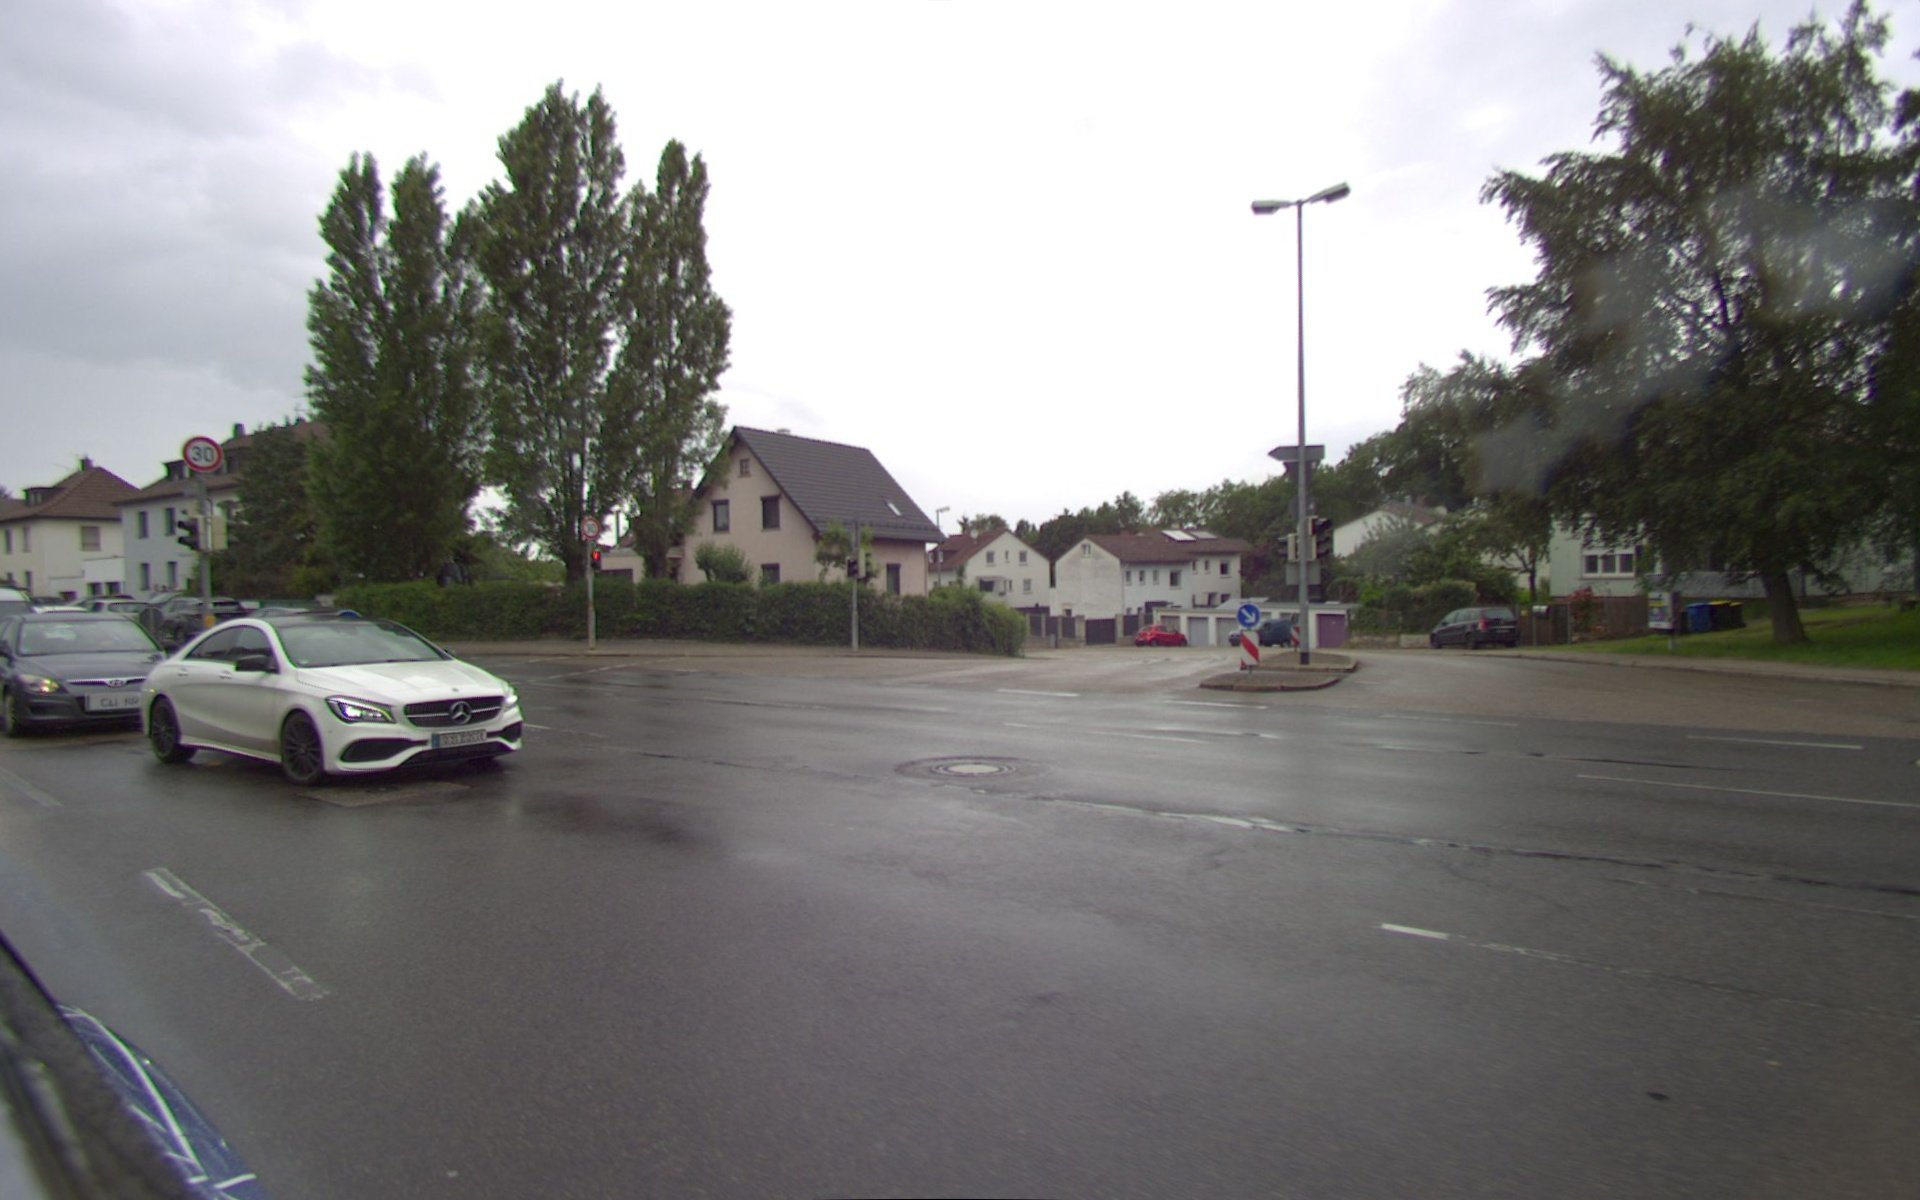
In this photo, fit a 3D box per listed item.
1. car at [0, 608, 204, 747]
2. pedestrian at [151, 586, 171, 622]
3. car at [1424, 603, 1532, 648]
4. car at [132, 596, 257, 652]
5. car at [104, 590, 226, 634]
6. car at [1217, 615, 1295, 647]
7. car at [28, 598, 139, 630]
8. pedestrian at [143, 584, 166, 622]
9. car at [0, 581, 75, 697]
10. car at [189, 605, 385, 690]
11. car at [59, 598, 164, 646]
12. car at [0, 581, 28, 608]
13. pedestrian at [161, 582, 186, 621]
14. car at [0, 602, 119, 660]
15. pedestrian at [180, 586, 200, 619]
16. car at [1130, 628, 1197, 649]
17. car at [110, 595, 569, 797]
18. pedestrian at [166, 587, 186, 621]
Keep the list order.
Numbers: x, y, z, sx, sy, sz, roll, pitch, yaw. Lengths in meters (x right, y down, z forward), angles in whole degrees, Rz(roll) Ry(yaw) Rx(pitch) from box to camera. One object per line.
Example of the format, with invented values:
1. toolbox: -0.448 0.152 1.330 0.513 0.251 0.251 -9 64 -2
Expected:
1. car: -11.551 0.876 13.168 4.054 1.498 1.817 0 0 39
2. pedestrian: -41.191 0.205 52.186 0.643 1.800 0.649 -4 2 -34
3. car: 20.663 0.999 40.561 1.910 1.717 4.200 0 -1 -4
4. car: -24.668 0.721 32.554 4.585 1.682 1.790 0 0 33
5. car: -36.762 0.529 46.896 1.867 1.575 3.957 -2 5 33
6. car: 17.555 1.811 60.007 4.022 1.863 1.945 0 -1 -20
7. car: -45.297 0.696 52.378 1.878 1.430 3.957 0 3 33
8. pedestrian: -39.960 0.142 50.187 0.538 1.801 0.662 0 4 36
9. car: -17.496 0.640 17.802 4.737 1.885 1.933 0 -1 36
10. car: -14.094 0.915 21.159 3.987 1.586 1.978 0 0 32
11. car: -30.234 0.740 36.040 4.131 1.580 1.790 0 0 33
12. car: -59.010 -0.418 60.743 1.830 1.495 4.076 -1 -4 26
13. pedestrian: -39.110 0.065 50.342 0.685 1.880 0.726 0 4 38
14. car: -26.727 0.843 29.824 4.759 1.568 1.820 0 0 35
15. pedestrian: -39.825 0.120 52.342 0.573 1.682 0.578 -1 3 31
16. car: 13.620 2.561 67.639 4.022 1.298 1.914 0 -1 -24
17. car: -6.078 0.737 9.769 4.635 1.540 1.894 0 0 31
18. pedestrian: -41.288 0.221 53.289 0.560 1.720 0.582 -1 3 31
